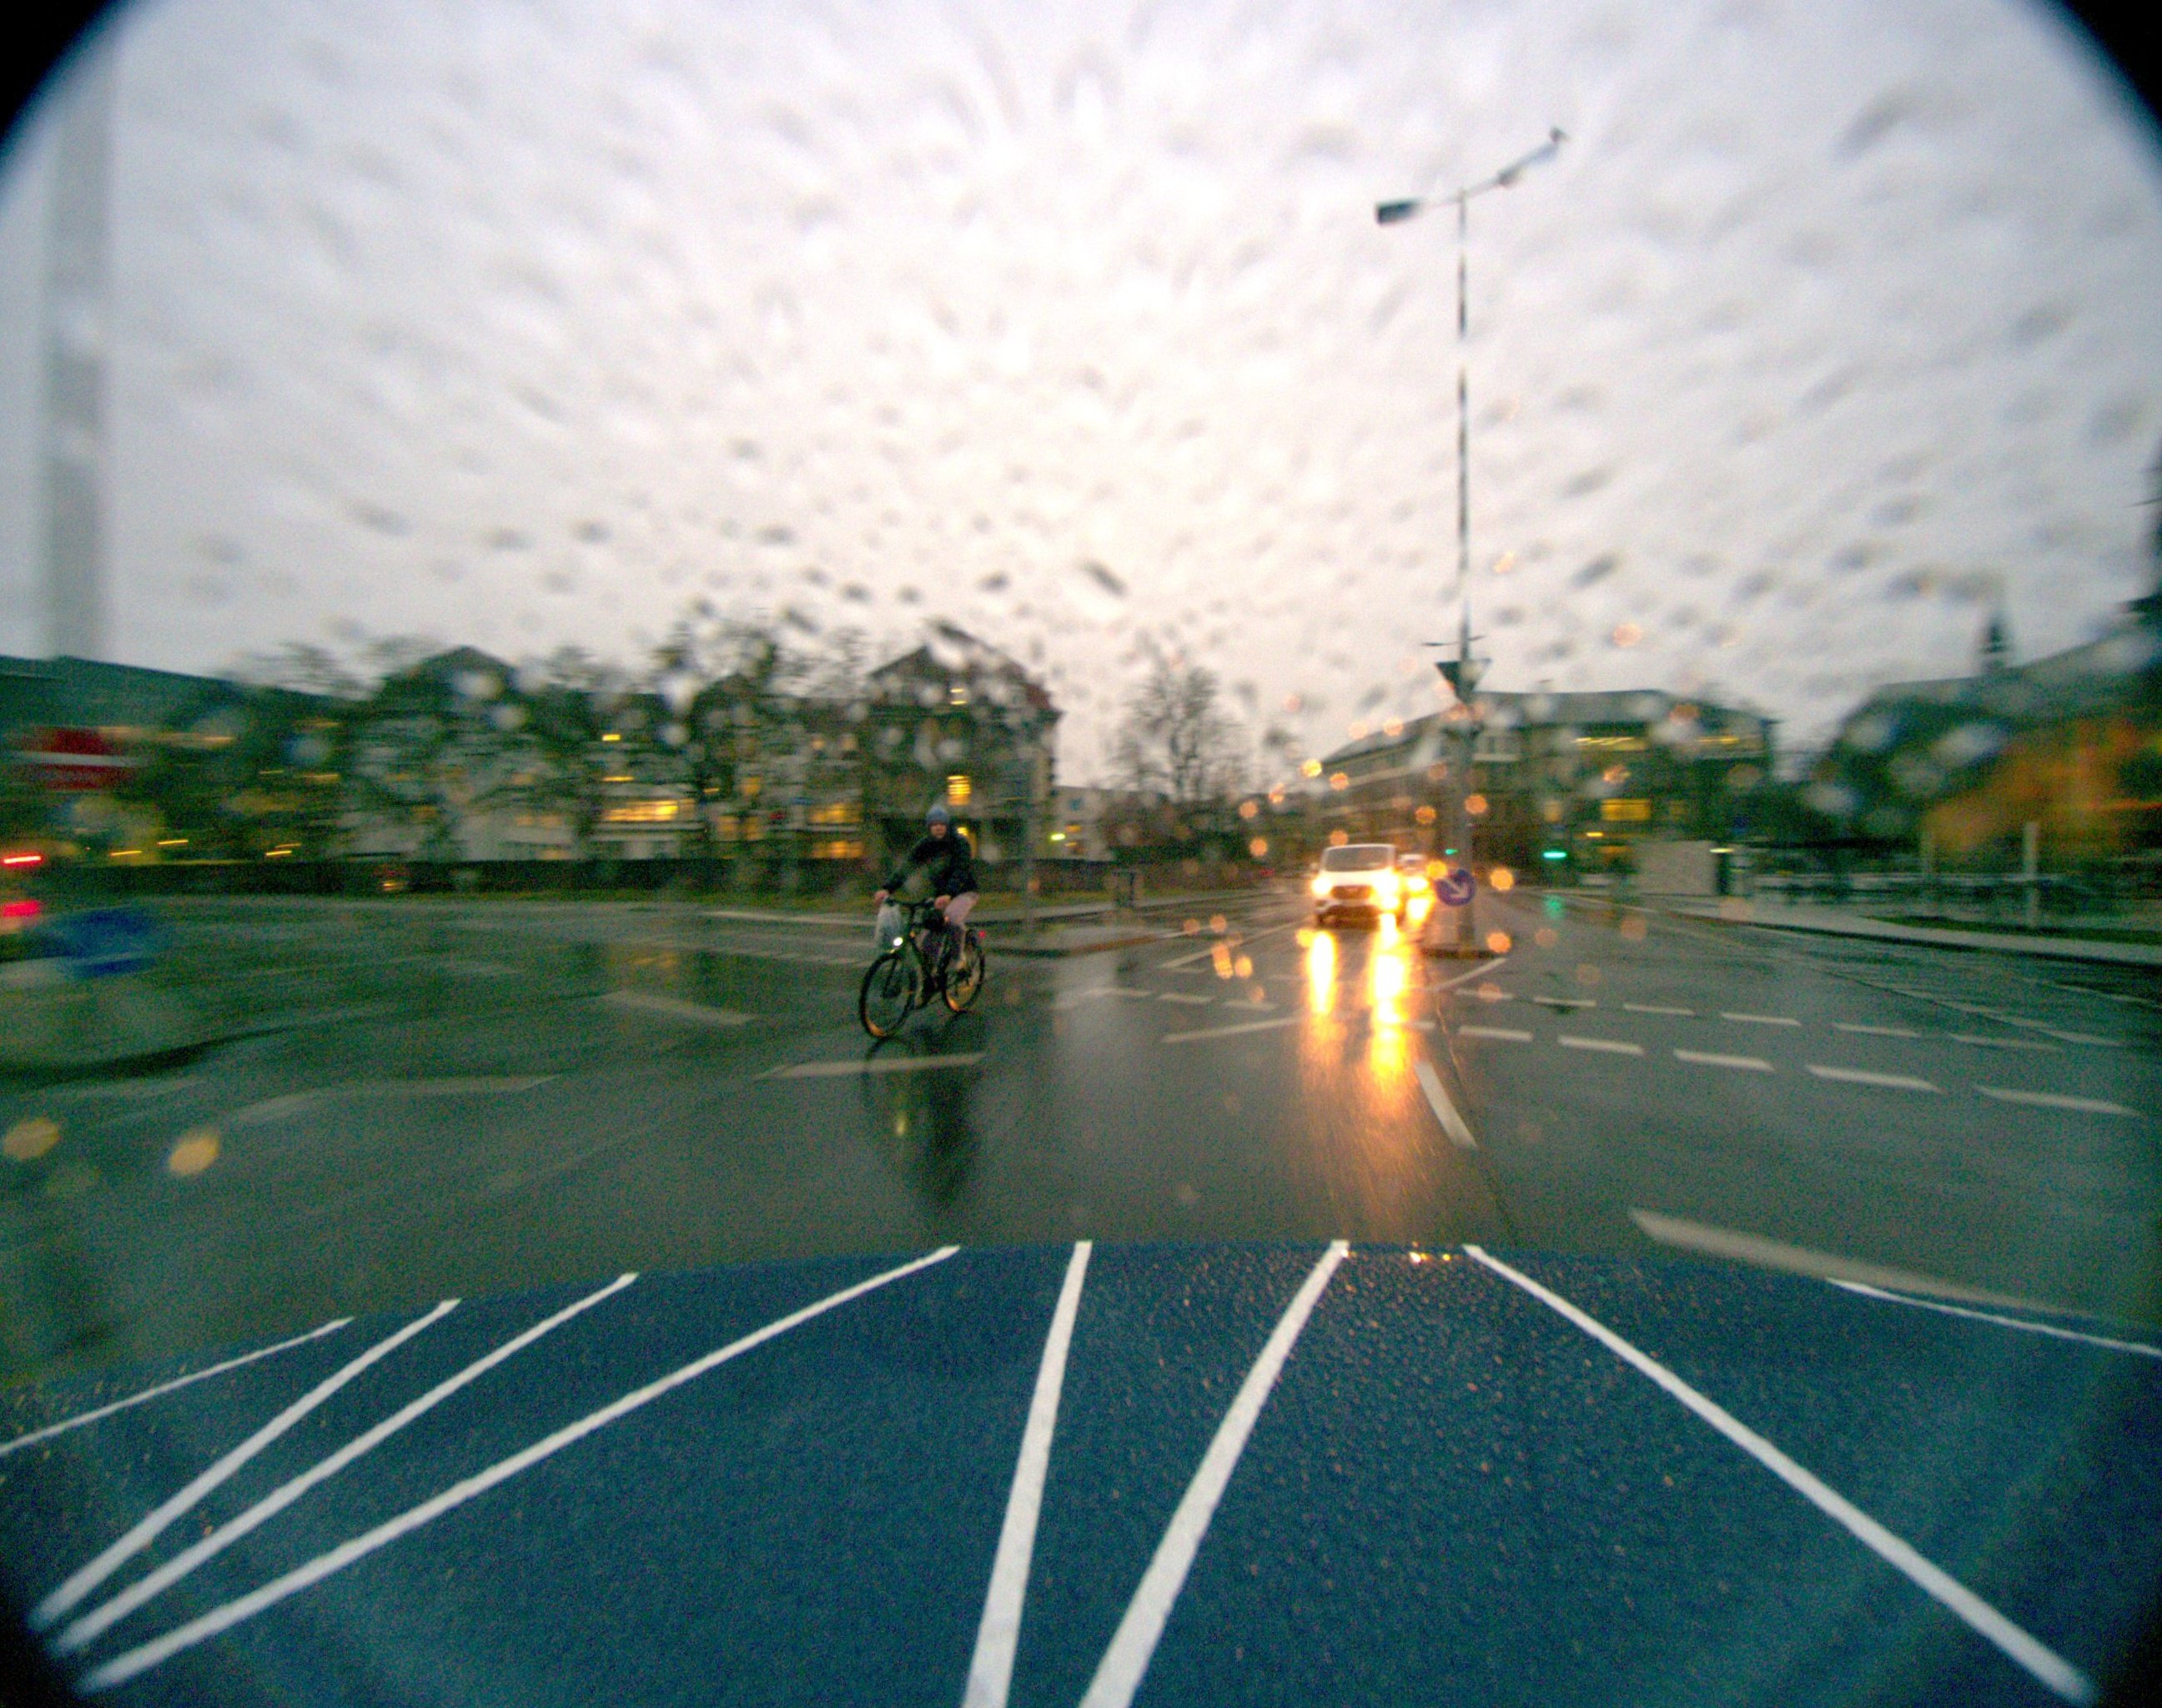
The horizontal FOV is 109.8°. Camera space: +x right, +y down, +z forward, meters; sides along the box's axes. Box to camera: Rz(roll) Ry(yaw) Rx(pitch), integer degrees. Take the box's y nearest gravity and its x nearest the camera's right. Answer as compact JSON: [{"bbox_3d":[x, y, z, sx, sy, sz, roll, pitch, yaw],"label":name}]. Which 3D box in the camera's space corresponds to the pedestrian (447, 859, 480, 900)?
[{"bbox_3d":[-27.830,1.136,34.249,0.945,1.819,0.810,0,0,25],"label":"pedestrian"}]

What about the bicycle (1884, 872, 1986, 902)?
[{"bbox_3d":[33.149,1.284,29.570,0.647,1.098,2.750,-2,-2,-6],"label":"bicycle"}]

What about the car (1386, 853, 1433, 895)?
[{"bbox_3d":[21.044,1.256,48.558,2.342,2.502,5.879,-3,-2,26],"label":"car"}]

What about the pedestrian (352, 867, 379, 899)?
[{"bbox_3d":[-41.331,1.647,43.881,0.945,1.819,0.810,0,0,25],"label":"pedestrian"}]

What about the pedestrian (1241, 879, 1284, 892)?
[{"bbox_3d":[14.160,2.467,59.206,3.098,0.924,0.948,-2,-2,-5],"label":"pedestrian"}]

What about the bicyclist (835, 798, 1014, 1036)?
[{"bbox_3d":[-1.328,0.498,6.716,1.025,1.872,1.237,-1,1,18],"label":"bicyclist"}]

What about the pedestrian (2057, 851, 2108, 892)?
[{"bbox_3d":[46.774,0.812,35.495,1.048,1.838,0.850,-5,-3,25],"label":"pedestrian"}]

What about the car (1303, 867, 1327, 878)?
[{"bbox_3d":[33.426,2.678,108.618,1.888,1.521,3.998,0,-1,-7],"label":"car"}]

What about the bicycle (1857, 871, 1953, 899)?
[{"bbox_3d":[34.107,1.286,31.530,0.647,1.098,2.750,-2,-2,-9],"label":"bicycle"}]

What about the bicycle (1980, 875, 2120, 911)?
[{"bbox_3d":[31.546,1.260,24.823,0.647,1.098,2.748,-2,-2,-15],"label":"bicycle"}]

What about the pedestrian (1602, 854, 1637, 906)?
[{"bbox_3d":[18.316,0.873,25.847,0.716,1.723,0.983,1,0,21],"label":"pedestrian"}]

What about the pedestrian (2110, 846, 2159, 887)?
[{"bbox_3d":[47.898,0.576,34.568,1.033,1.839,0.850,0,0,25],"label":"pedestrian"}]

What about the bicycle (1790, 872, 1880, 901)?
[{"bbox_3d":[30.383,1.307,30.682,0.647,1.098,2.750,-2,-2,-6],"label":"bicycle"}]

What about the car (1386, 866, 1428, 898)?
[{"bbox_3d":[16.975,1.432,39.459,1.751,1.495,4.325,-3,-2,26],"label":"car"}]

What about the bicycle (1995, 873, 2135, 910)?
[{"bbox_3d":[32.300,1.199,25.025,0.647,1.098,2.748,-2,-1,-15],"label":"bicycle"}]

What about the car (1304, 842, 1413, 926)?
[{"bbox_3d":[7.421,0.770,19.984,2.133,1.909,5.027,-3,-2,25],"label":"car"}]

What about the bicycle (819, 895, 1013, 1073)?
[{"bbox_3d":[-1.361,1.034,6.737,0.793,1.215,1.906,-1,1,18],"label":"bicycle"}]

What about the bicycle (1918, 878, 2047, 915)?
[{"bbox_3d":[28.928,1.346,24.467,0.647,1.098,2.750,-2,-2,-6],"label":"bicycle"}]

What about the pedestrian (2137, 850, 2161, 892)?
[{"bbox_3d":[47.832,0.752,33.597,1.033,1.839,0.850,0,0,25],"label":"pedestrian"}]

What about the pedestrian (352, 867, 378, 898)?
[{"bbox_3d":[-42.320,1.664,44.896,0.945,1.819,0.810,0,0,25],"label":"pedestrian"}]

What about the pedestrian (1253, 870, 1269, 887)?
[{"bbox_3d":[14.006,1.912,59.230,0.982,1.309,0.814,0,0,-4],"label":"pedestrian"}]

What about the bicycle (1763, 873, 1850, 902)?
[{"bbox_3d":[29.191,1.354,30.645,0.647,1.098,2.750,-2,-2,-6],"label":"bicycle"}]

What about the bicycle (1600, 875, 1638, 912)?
[{"bbox_3d":[18.360,1.339,25.967,0.622,1.169,1.876,1,0,21],"label":"bicycle"}]

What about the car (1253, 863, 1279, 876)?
[{"bbox_3d":[30.608,2.565,125.858,2.143,1.999,4.565,1,-1,-15],"label":"car"}]

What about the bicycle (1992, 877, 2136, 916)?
[{"bbox_3d":[30.246,1.286,23.476,0.647,1.098,2.750,-2,-2,-6],"label":"bicycle"}]

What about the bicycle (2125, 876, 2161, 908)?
[{"bbox_3d":[36.296,1.266,24.434,0.795,1.043,3.192,0,-1,-10],"label":"bicycle"}]
